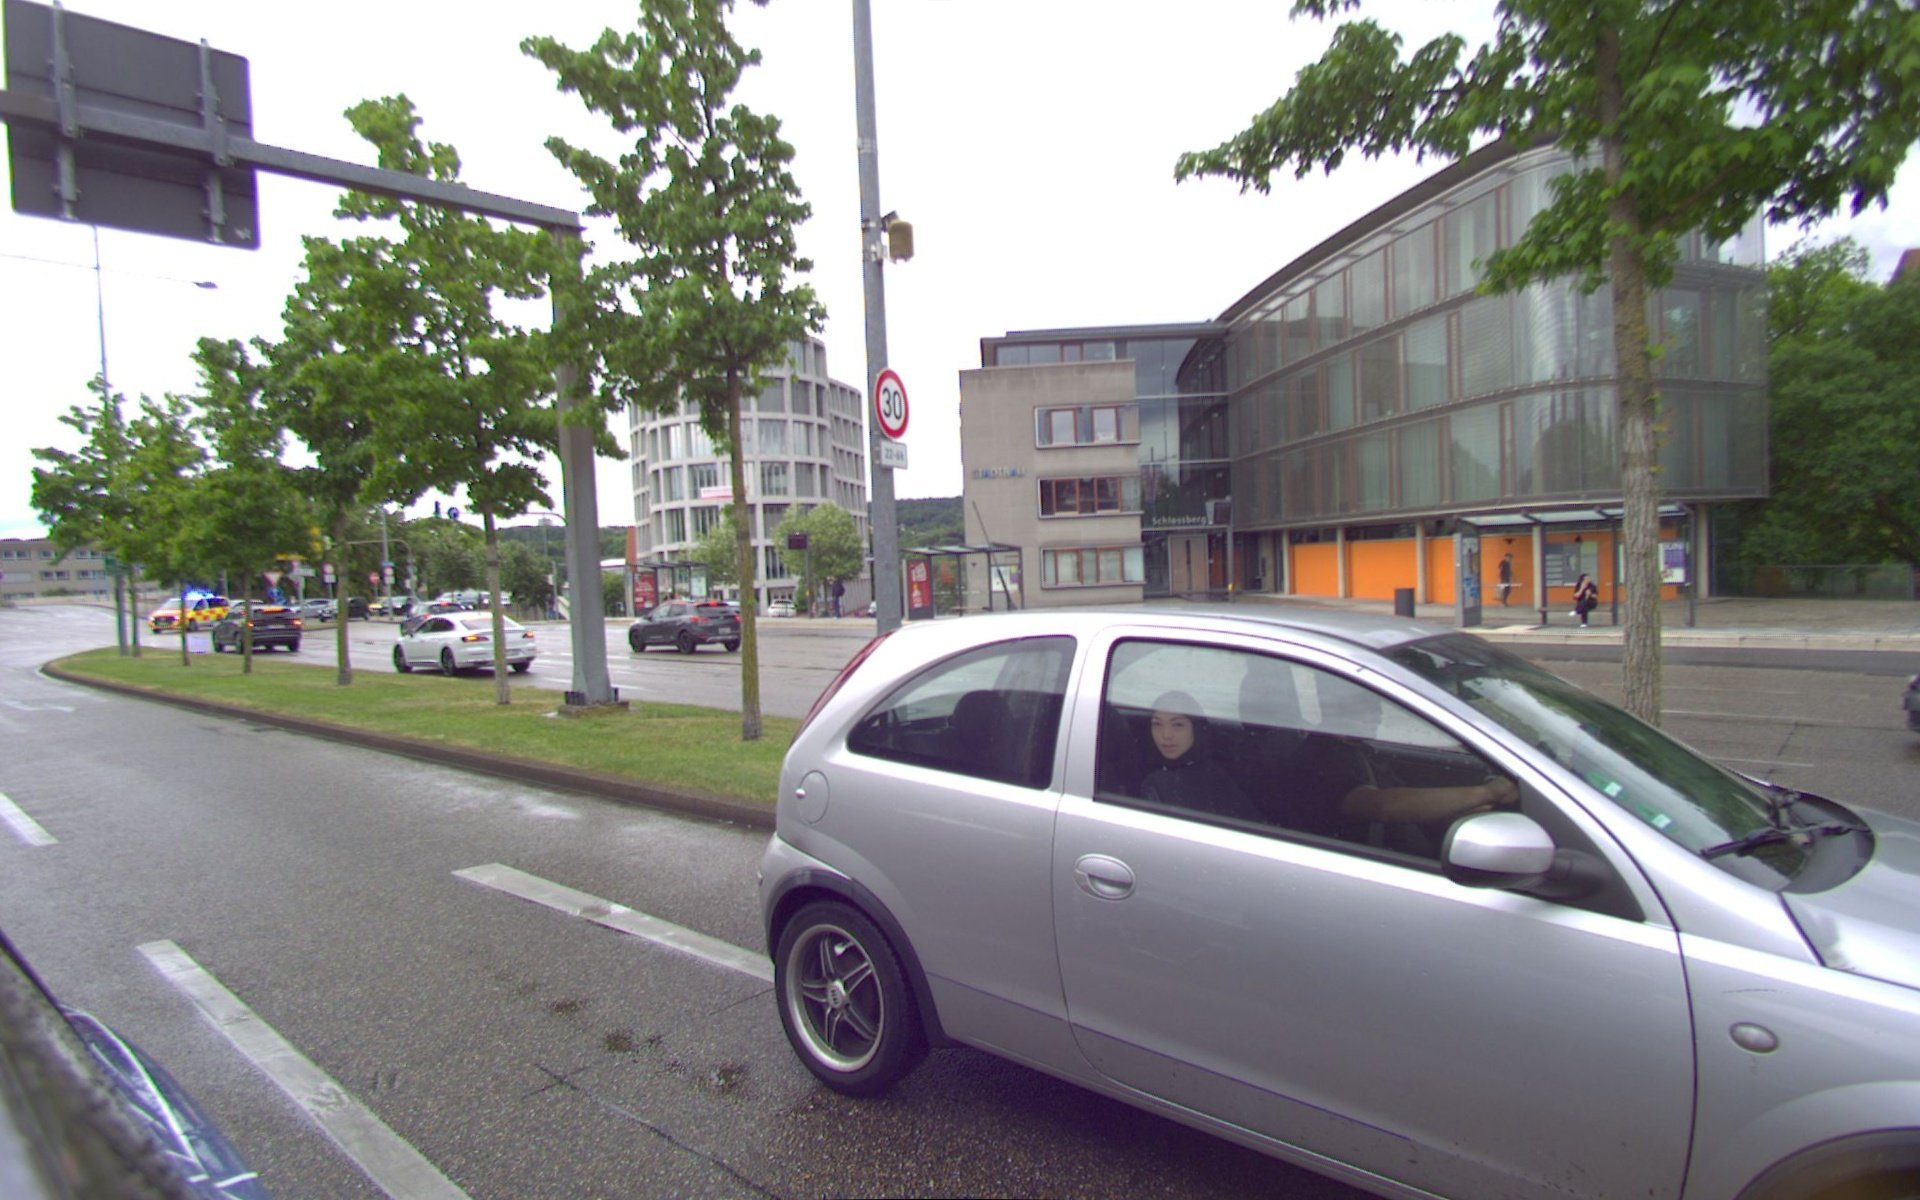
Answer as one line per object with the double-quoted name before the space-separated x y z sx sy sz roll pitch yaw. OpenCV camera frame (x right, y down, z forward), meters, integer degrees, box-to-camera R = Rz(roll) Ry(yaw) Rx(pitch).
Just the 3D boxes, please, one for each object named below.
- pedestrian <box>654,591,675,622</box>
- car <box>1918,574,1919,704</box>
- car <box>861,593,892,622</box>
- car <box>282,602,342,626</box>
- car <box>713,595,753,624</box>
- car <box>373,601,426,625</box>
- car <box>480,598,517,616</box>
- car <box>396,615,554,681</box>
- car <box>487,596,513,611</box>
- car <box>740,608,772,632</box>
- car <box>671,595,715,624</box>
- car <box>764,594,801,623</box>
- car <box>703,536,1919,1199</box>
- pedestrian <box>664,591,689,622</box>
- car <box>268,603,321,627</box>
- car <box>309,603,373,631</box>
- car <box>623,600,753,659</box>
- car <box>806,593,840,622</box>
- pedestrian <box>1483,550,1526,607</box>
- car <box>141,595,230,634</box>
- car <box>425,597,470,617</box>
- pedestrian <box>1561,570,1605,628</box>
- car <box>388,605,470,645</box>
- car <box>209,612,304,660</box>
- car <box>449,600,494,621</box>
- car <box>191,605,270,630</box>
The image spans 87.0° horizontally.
"pedestrian" -14.727 0.331 50.442 0.722 1.501 0.735 -1 0 -41
"car" 10.633 0.480 7.974 4.453 1.477 1.676 -1 0 44
"car" -5.217 0.451 63.426 1.849 1.715 4.161 -1 0 -4
"car" -46.996 0.997 73.534 1.849 1.715 4.160 -1 0 -3
"car" -14.040 0.567 62.834 1.849 1.715 4.161 -1 0 -4
"car" -41.836 0.929 75.686 1.849 1.715 4.160 -1 0 -3
"car" -44.804 0.667 98.376 1.849 1.646 4.160 -1 0 -3
"car" -11.470 1.067 23.801 4.165 1.363 1.983 -1 0 43
"car" -49.258 0.373 108.441 1.845 1.646 4.169 -1 0 -15
"car" -15.494 1.507 76.994 1.849 1.715 4.161 -1 0 -4
"car" -16.518 0.599 62.763 1.849 1.715 4.161 -1 0 -4
"car" -11.035 0.513 63.056 1.849 1.714 4.161 -1 0 -4
"car" 1.152 0.653 2.633 3.717 1.477 1.677 -1 0 40
"pedestrian" -13.936 0.321 49.770 0.969 1.501 0.735 -1 0 -39
"car" -50.053 1.113 76.188 1.846 1.646 4.166 -2 0 -10
"car" -40.537 1.087 66.360 1.849 1.715 4.161 -1 0 -4
"car" -7.967 0.812 29.424 4.003 1.566 1.859 -1 0 44
"car" -8.565 0.445 63.530 1.849 1.715 4.161 -1 0 -4
"pedestrian" 17.231 -0.674 32.022 0.772 1.769 0.828 -4 1 -22
"car" -42.706 0.789 55.958 1.967 2.029 5.074 -1 0 -12
"car" -44.313 0.587 87.546 1.849 1.646 4.304 -1 0 -3
"pedestrian" 14.492 -0.027 23.556 0.659 1.309 0.720 -1 0 -44
"car" -22.159 1.004 42.198 4.003 1.566 1.859 0 0 44
"car" -25.017 1.236 35.933 4.165 1.566 1.983 -1 0 44
"car" -40.607 0.875 84.218 1.849 1.646 4.160 -1 0 -3
"car" -48.650 1.130 67.596 1.796 1.571 4.028 -1 0 16
